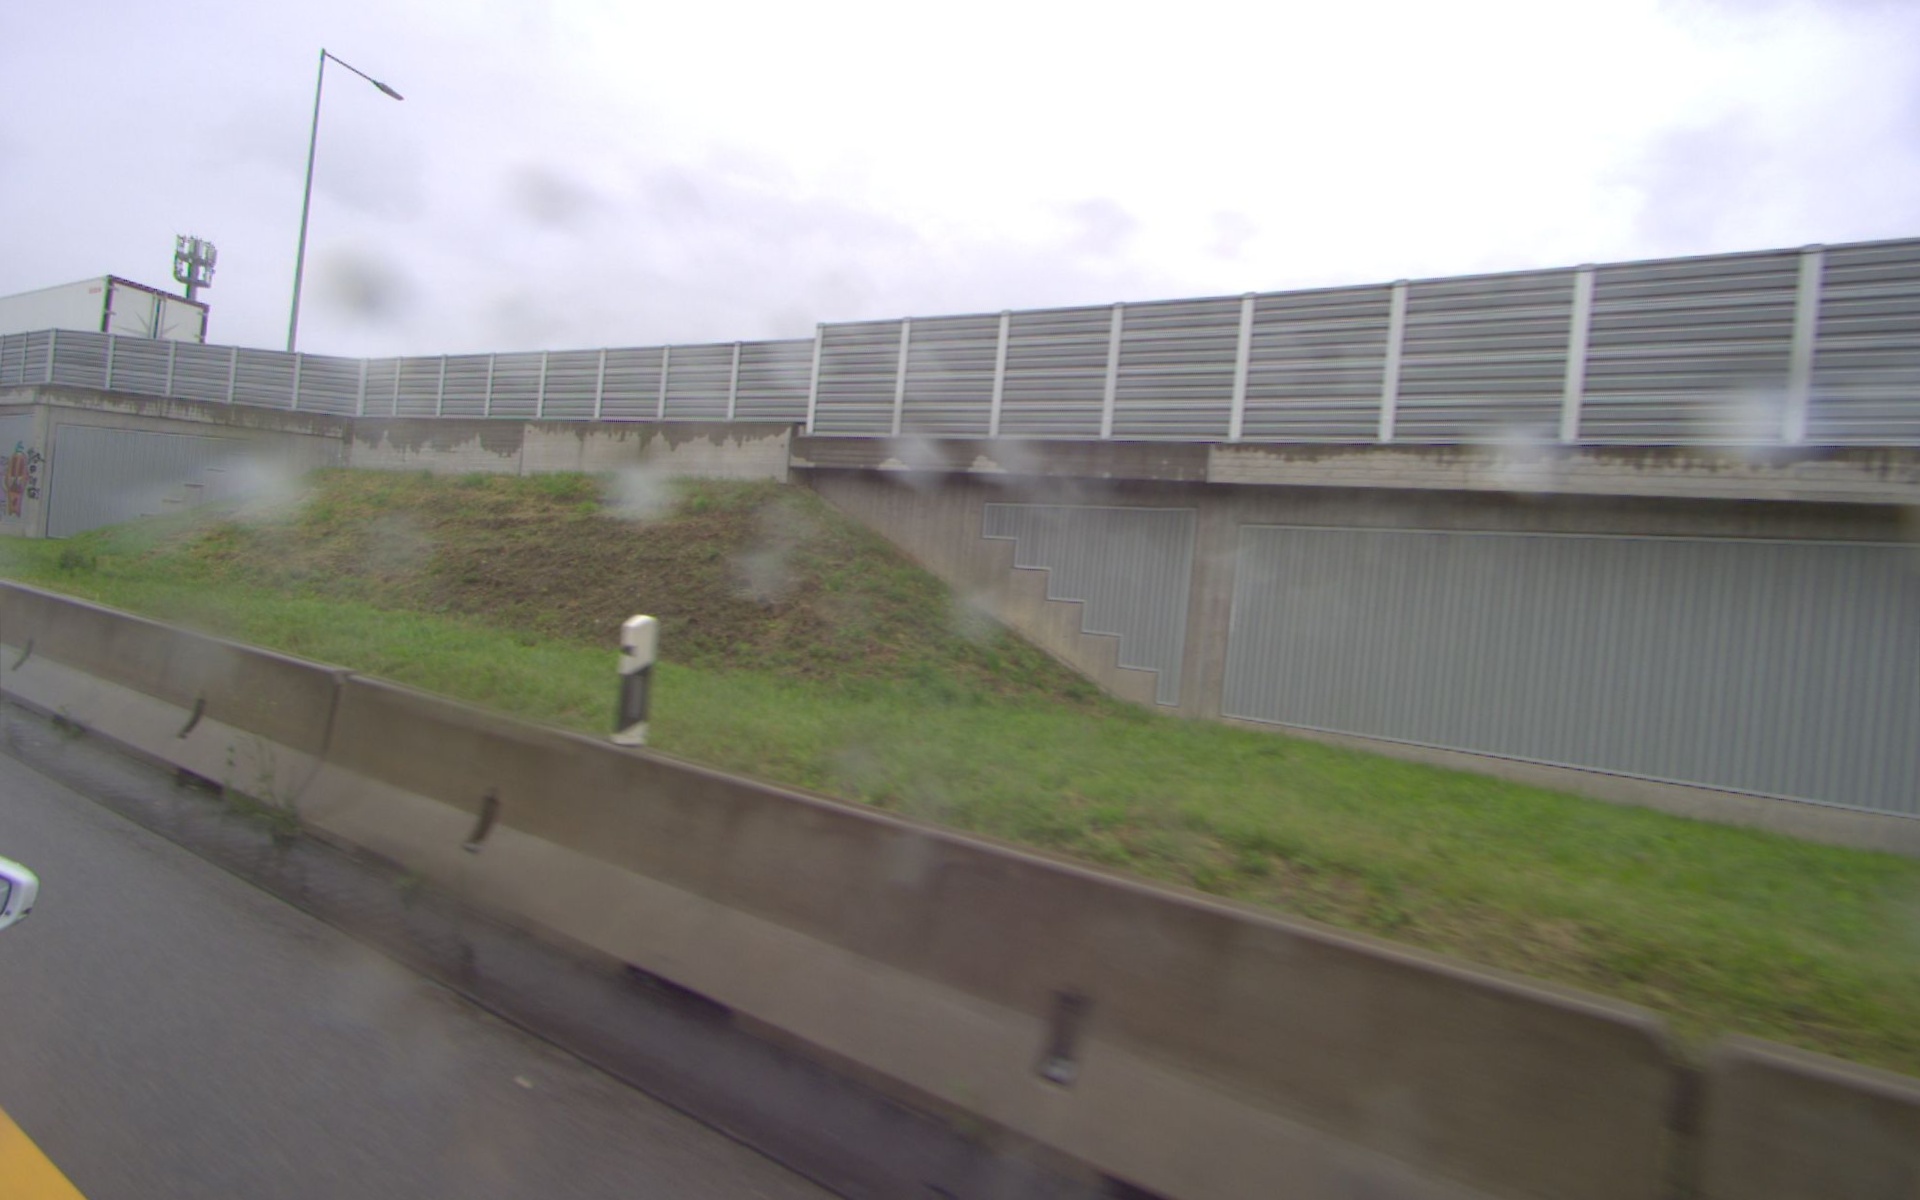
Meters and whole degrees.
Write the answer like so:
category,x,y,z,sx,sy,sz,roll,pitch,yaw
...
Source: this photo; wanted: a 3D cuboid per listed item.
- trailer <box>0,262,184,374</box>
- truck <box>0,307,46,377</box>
category,x,y,z,sx,sy,sz,roll,pitch,yaw
trailer,-30.498,-9.329,34.176,13.545,2.130,1.996,5,-2,33
truck,-36.891,-9.877,38.275,3.993,2.037,1.996,5,-2,33
